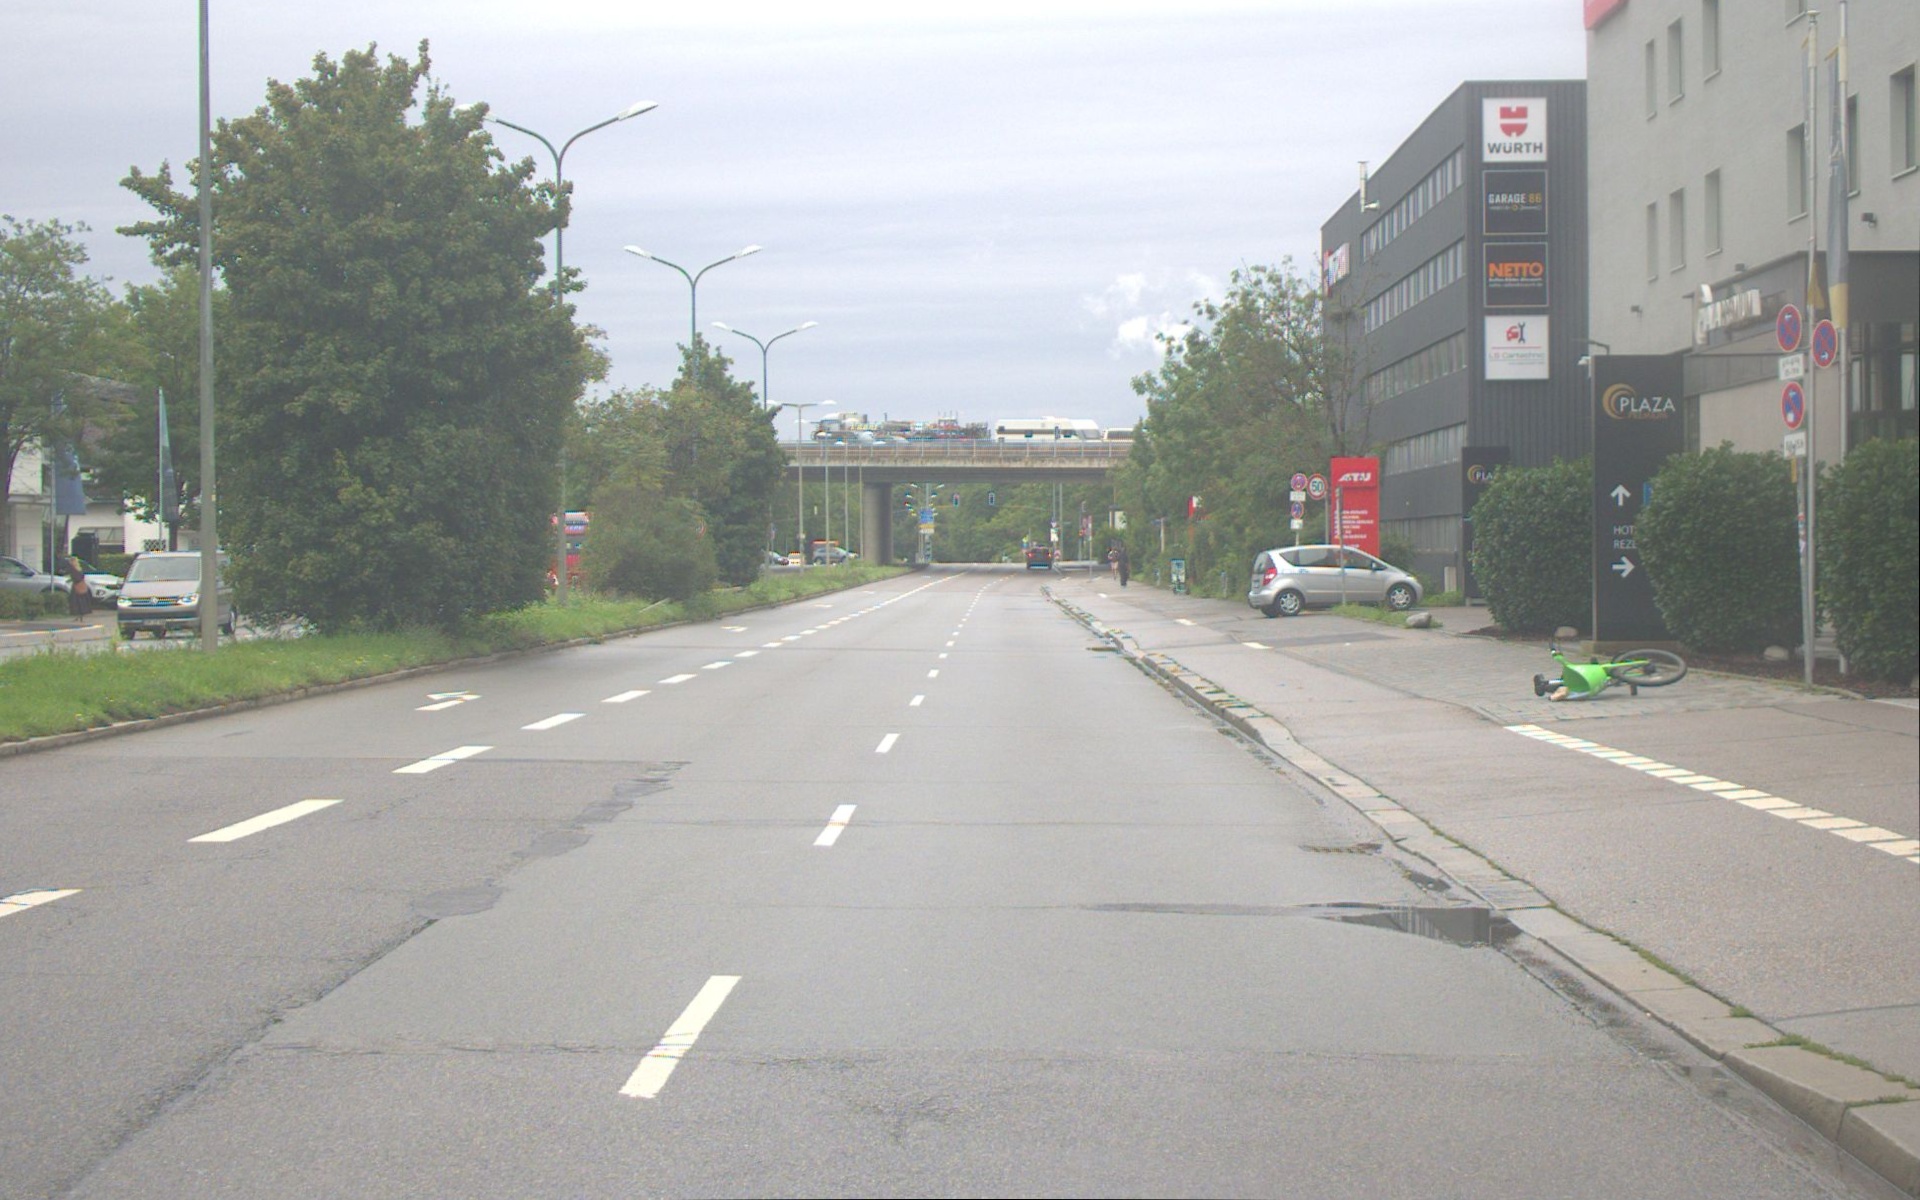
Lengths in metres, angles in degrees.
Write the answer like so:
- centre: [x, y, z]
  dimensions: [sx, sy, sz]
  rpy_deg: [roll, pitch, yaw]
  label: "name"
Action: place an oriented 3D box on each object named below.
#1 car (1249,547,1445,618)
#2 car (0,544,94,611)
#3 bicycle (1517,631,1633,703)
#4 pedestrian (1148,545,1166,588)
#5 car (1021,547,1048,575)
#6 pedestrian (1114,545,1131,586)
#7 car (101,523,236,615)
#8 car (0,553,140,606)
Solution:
- centre: [8.692, -0.404, 77.368]
  dimensions: [4.012, 1.552, 1.821]
  rpy_deg: [0, 1, -9]
  label: "car"
- centre: [-27.135, -0.613, 97.748]
  dimensions: [4.630, 1.836, 1.801]
  rpy_deg: [-2, 1, -22]
  label: "car"
- centre: [5.575, 0.596, 31.250]
  dimensions: [0.720, 0.547, 1.732]
  rpy_deg: [-4, 1, 1]
  label: "bicycle"
- centre: [8.706, -1.469, 152.083]
  dimensions: [0.689, 1.870, 0.662]
  rpy_deg: [-2, 1, 0]
  label: "pedestrian"
- centre: [5.411, -2.855, 249.045]
  dimensions: [1.812, 2.007, 3.833]
  rpy_deg: [1, 1, 2]
  label: "car"
- centre: [7.599, -1.611, 160.772]
  dimensions: [0.689, 1.870, 0.662]
  rpy_deg: [-2, 1, 0]
  label: "pedestrian"
- centre: [-17.715, -0.705, 77.107]
  dimensions: [1.993, 1.954, 4.325]
  rpy_deg: [-2, 1, 0]
  label: "car"
- centre: [-27.638, -0.639, 106.570]
  dimensions: [3.991, 1.504, 1.799]
  rpy_deg: [-1, 1, 22]
  label: "car"
